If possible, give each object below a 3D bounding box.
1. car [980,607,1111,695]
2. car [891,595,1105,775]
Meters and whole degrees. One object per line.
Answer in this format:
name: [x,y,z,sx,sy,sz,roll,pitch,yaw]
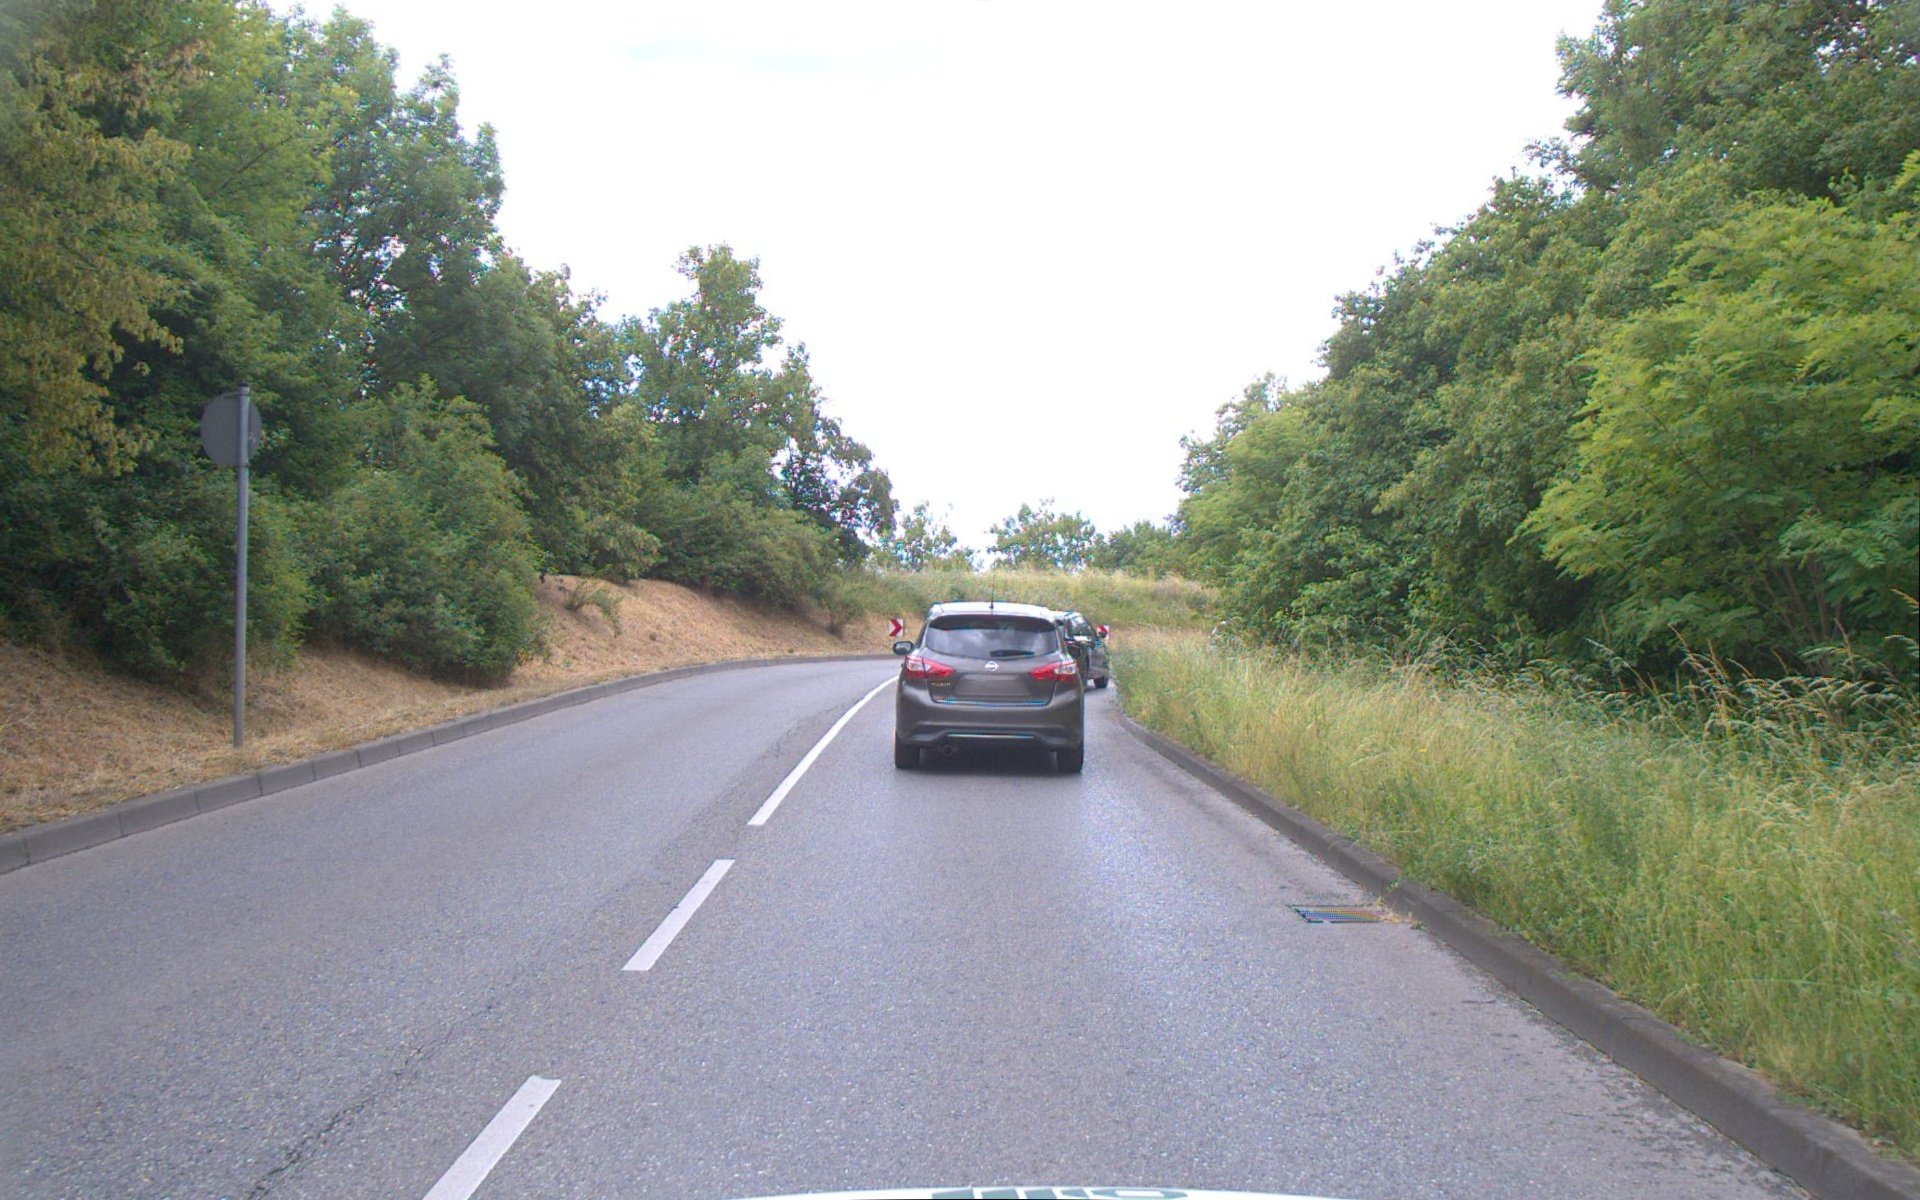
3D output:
car: [1.699,0.909,31.479,1.859,1.492,4.003,1,0,12]
car: [0.251,0.736,16.412,1.808,1.519,3.998,1,0,-3]
